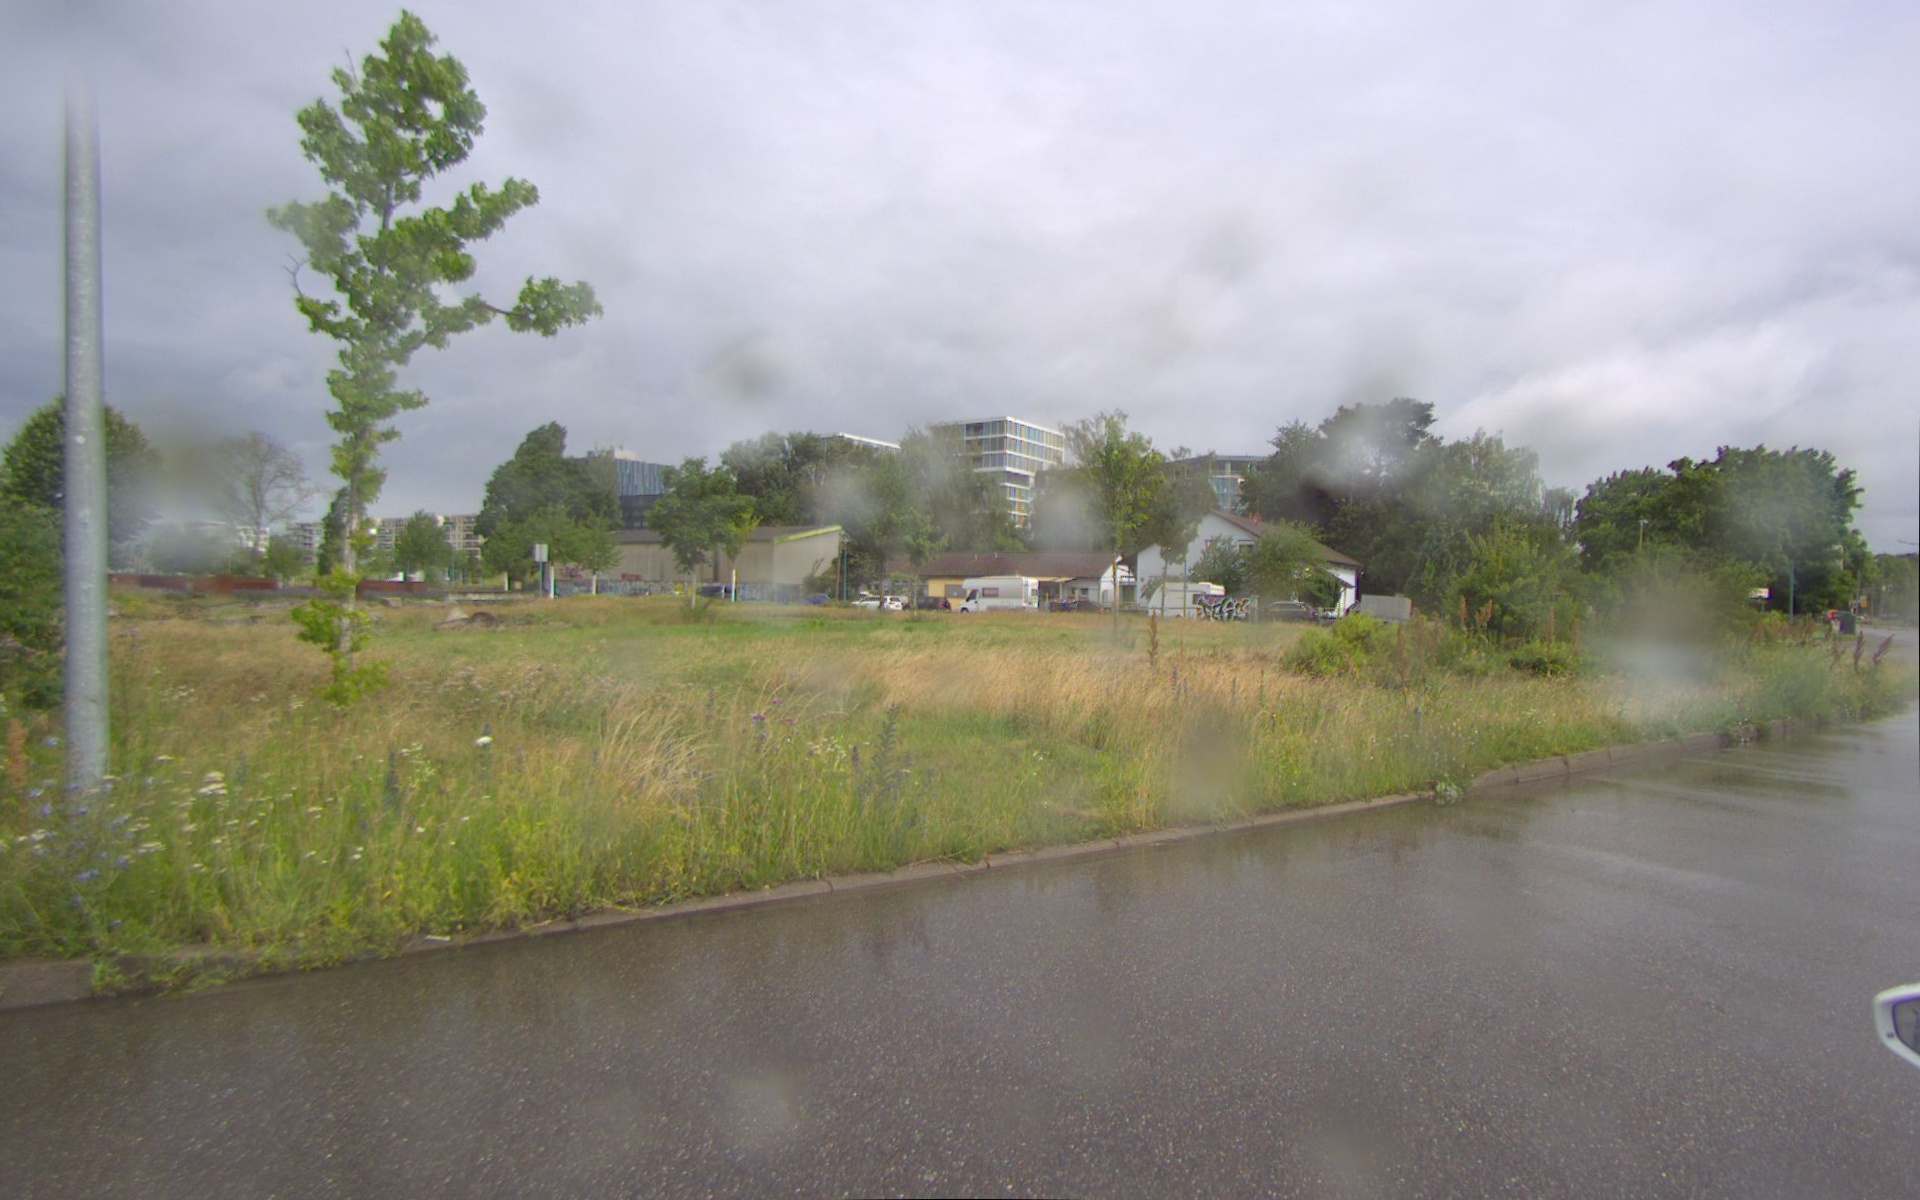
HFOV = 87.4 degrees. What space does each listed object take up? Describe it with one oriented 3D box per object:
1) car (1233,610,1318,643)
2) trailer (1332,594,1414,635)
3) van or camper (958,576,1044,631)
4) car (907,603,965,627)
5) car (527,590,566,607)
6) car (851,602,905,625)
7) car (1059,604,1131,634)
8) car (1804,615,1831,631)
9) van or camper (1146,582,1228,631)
[{"bbox_3d":[19.064,1.574,60.738,4.447,1.799,1.992,1,0,38],"label":"car"},{"bbox_3d":[23.905,0.807,58.181,4.045,2.117,1.839,3,1,35],"label":"trailer"},{"bbox_3d":[2.949,0.220,72.719,5.758,3.794,2.644,1,1,37],"label":"van or camper"},{"bbox_3d":[-1.818,1.125,75.568,3.934,1.706,1.993,1,0,35],"label":"car"},{"bbox_3d":[-42.967,-0.156,104.265,3.936,1.729,1.993,1,0,37],"label":"car"},{"bbox_3d":[-6.450,1.058,78.926,3.936,1.726,1.874,1,0,37],"label":"car"},{"bbox_3d":[9.057,1.249,67.501,4.447,1.799,1.992,1,0,38],"label":"car"},{"bbox_3d":[98.301,2.626,115.189,1.816,1.663,4.005,1,0,33],"label":"car"},{"bbox_3d":[14.551,0.384,64.412,4.444,2.985,2.474,1,1,37],"label":"van or camper"}]
